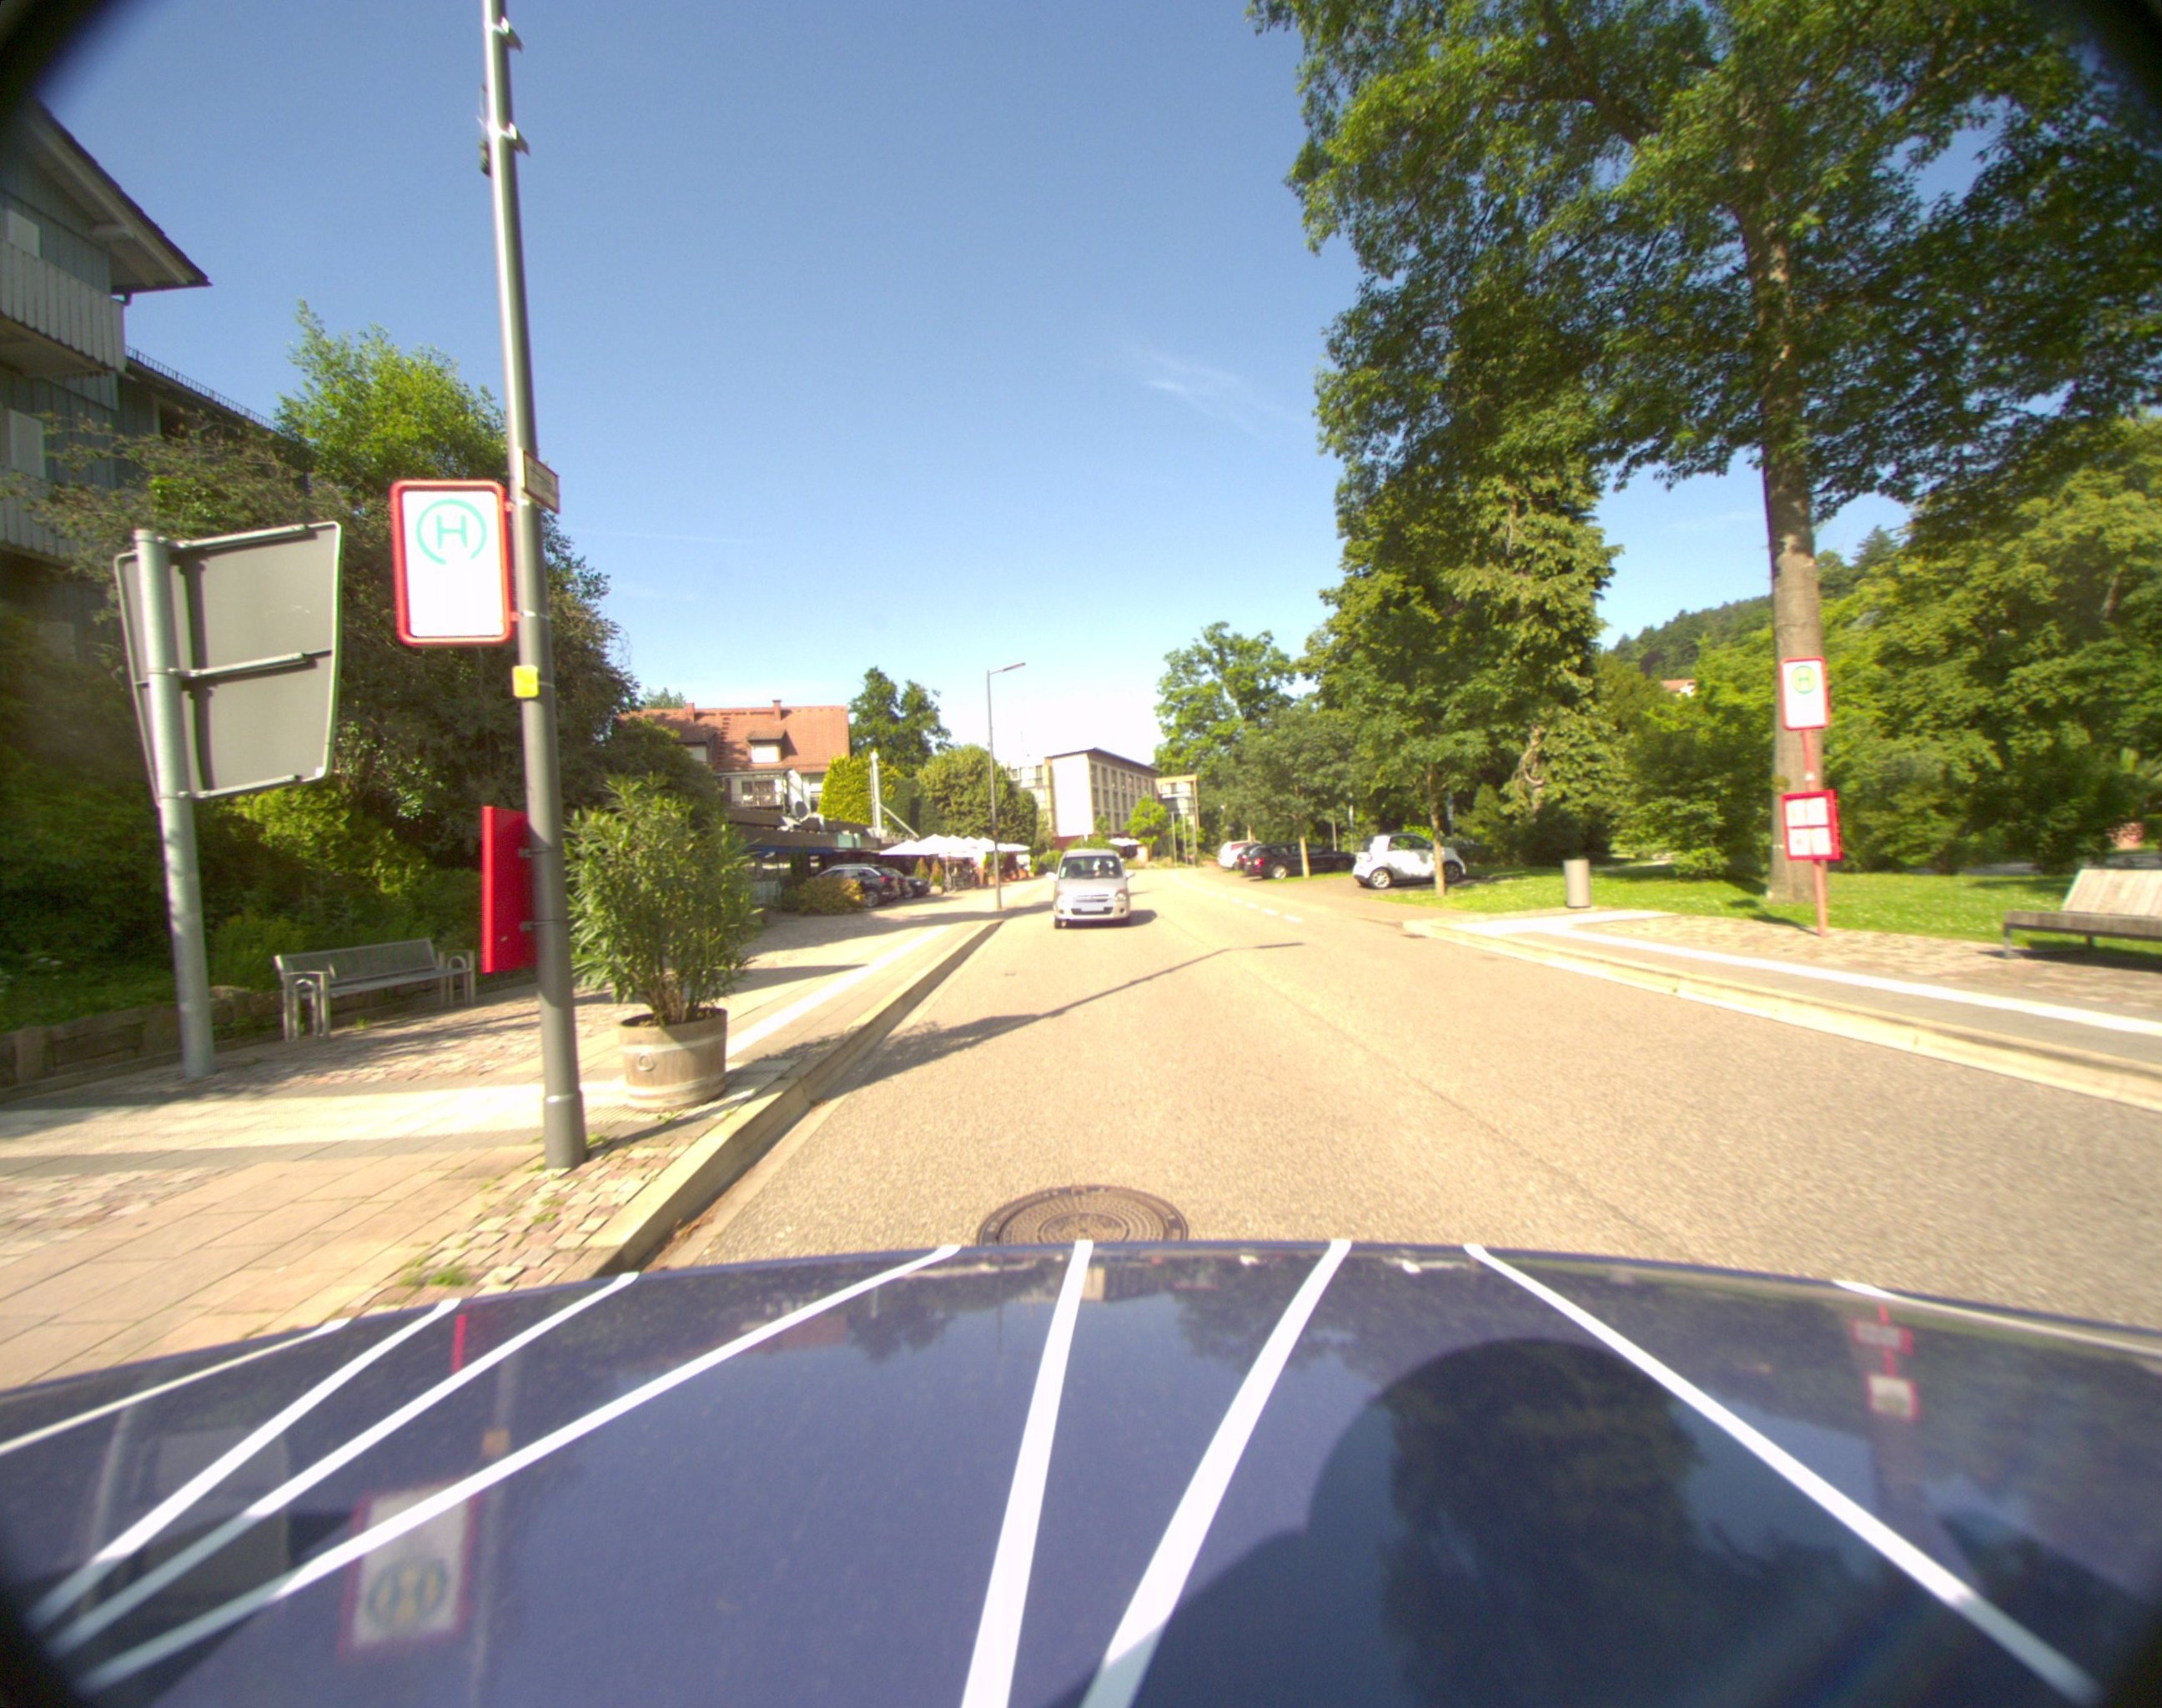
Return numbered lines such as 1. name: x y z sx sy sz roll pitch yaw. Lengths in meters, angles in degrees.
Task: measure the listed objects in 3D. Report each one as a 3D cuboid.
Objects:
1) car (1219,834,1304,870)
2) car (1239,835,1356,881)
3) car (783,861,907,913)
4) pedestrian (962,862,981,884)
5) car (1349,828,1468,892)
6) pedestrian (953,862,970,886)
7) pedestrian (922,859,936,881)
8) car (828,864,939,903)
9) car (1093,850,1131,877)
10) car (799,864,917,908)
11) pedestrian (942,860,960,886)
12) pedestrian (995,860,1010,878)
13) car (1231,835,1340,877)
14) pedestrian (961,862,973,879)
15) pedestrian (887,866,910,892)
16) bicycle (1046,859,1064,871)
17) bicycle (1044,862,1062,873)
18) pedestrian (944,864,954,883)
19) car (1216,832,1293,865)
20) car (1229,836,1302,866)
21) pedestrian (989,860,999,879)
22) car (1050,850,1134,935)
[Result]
1. car: 10.208 -0.125 43.193 4.491 1.409 1.811 -8 1 12
2. car: 8.984 0.163 31.705 4.288 1.423 1.712 -6 1 -5
3. car: -8.448 1.164 27.480 3.886 1.571 1.748 -3 1 -2
4. pedestrian: -6.596 1.153 45.698 0.810 1.253 0.701 -3 1 20
5. car: 9.366 0.154 21.890 2.656 1.538 1.683 -6 1 7
6. pedestrian: -6.388 1.079 40.769 0.812 1.253 0.700 -3 1 -7
7. pedestrian: -9.614 1.011 48.017 0.639 1.297 0.579 -3 1 -35
8. car: -8.560 1.278 33.149 4.272 1.371 1.709 -3 1 2
9. car: 1.944 0.588 46.922 1.739 1.488 3.933 -2 -1 11
10. car: -8.848 1.265 30.348 4.119 1.407 1.748 -3 1 2
11. pedestrian: -7.212 1.046 42.092 0.701 1.373 0.810 -3 1 -29
12. pedestrian: -5.672 1.082 54.898 0.950 1.277 0.645 -2 1 0
13. car: 9.431 0.076 35.297 4.505 1.501 1.713 -5 1 0
14. pedestrian: -8.158 1.171 54.543 0.507 1.224 0.700 -2 1 21
15. pedestrian: -9.116 1.244 38.014 0.699 1.253 0.814 -3 1 28
16. bicycle: -2.230 0.931 64.813 1.544 0.977 0.385 -1 1 35
17. bicycle: -2.355 1.156 63.908 1.543 0.904 0.385 -1 1 35
18. pedestrian: -9.021 1.313 51.979 0.409 1.260 0.509 -2 1 12
19. car: 11.082 -0.358 48.763 4.493 1.654 1.810 -6 1 3
20. car: 11.160 -0.208 46.183 3.995 1.424 1.720 -6 1 7
21. pedestrian: -5.586 0.989 48.868 0.473 1.238 0.592 -3 2 -14
22. car: 0.141 0.762 17.235 1.605 1.628 3.998 -2 1 -3
